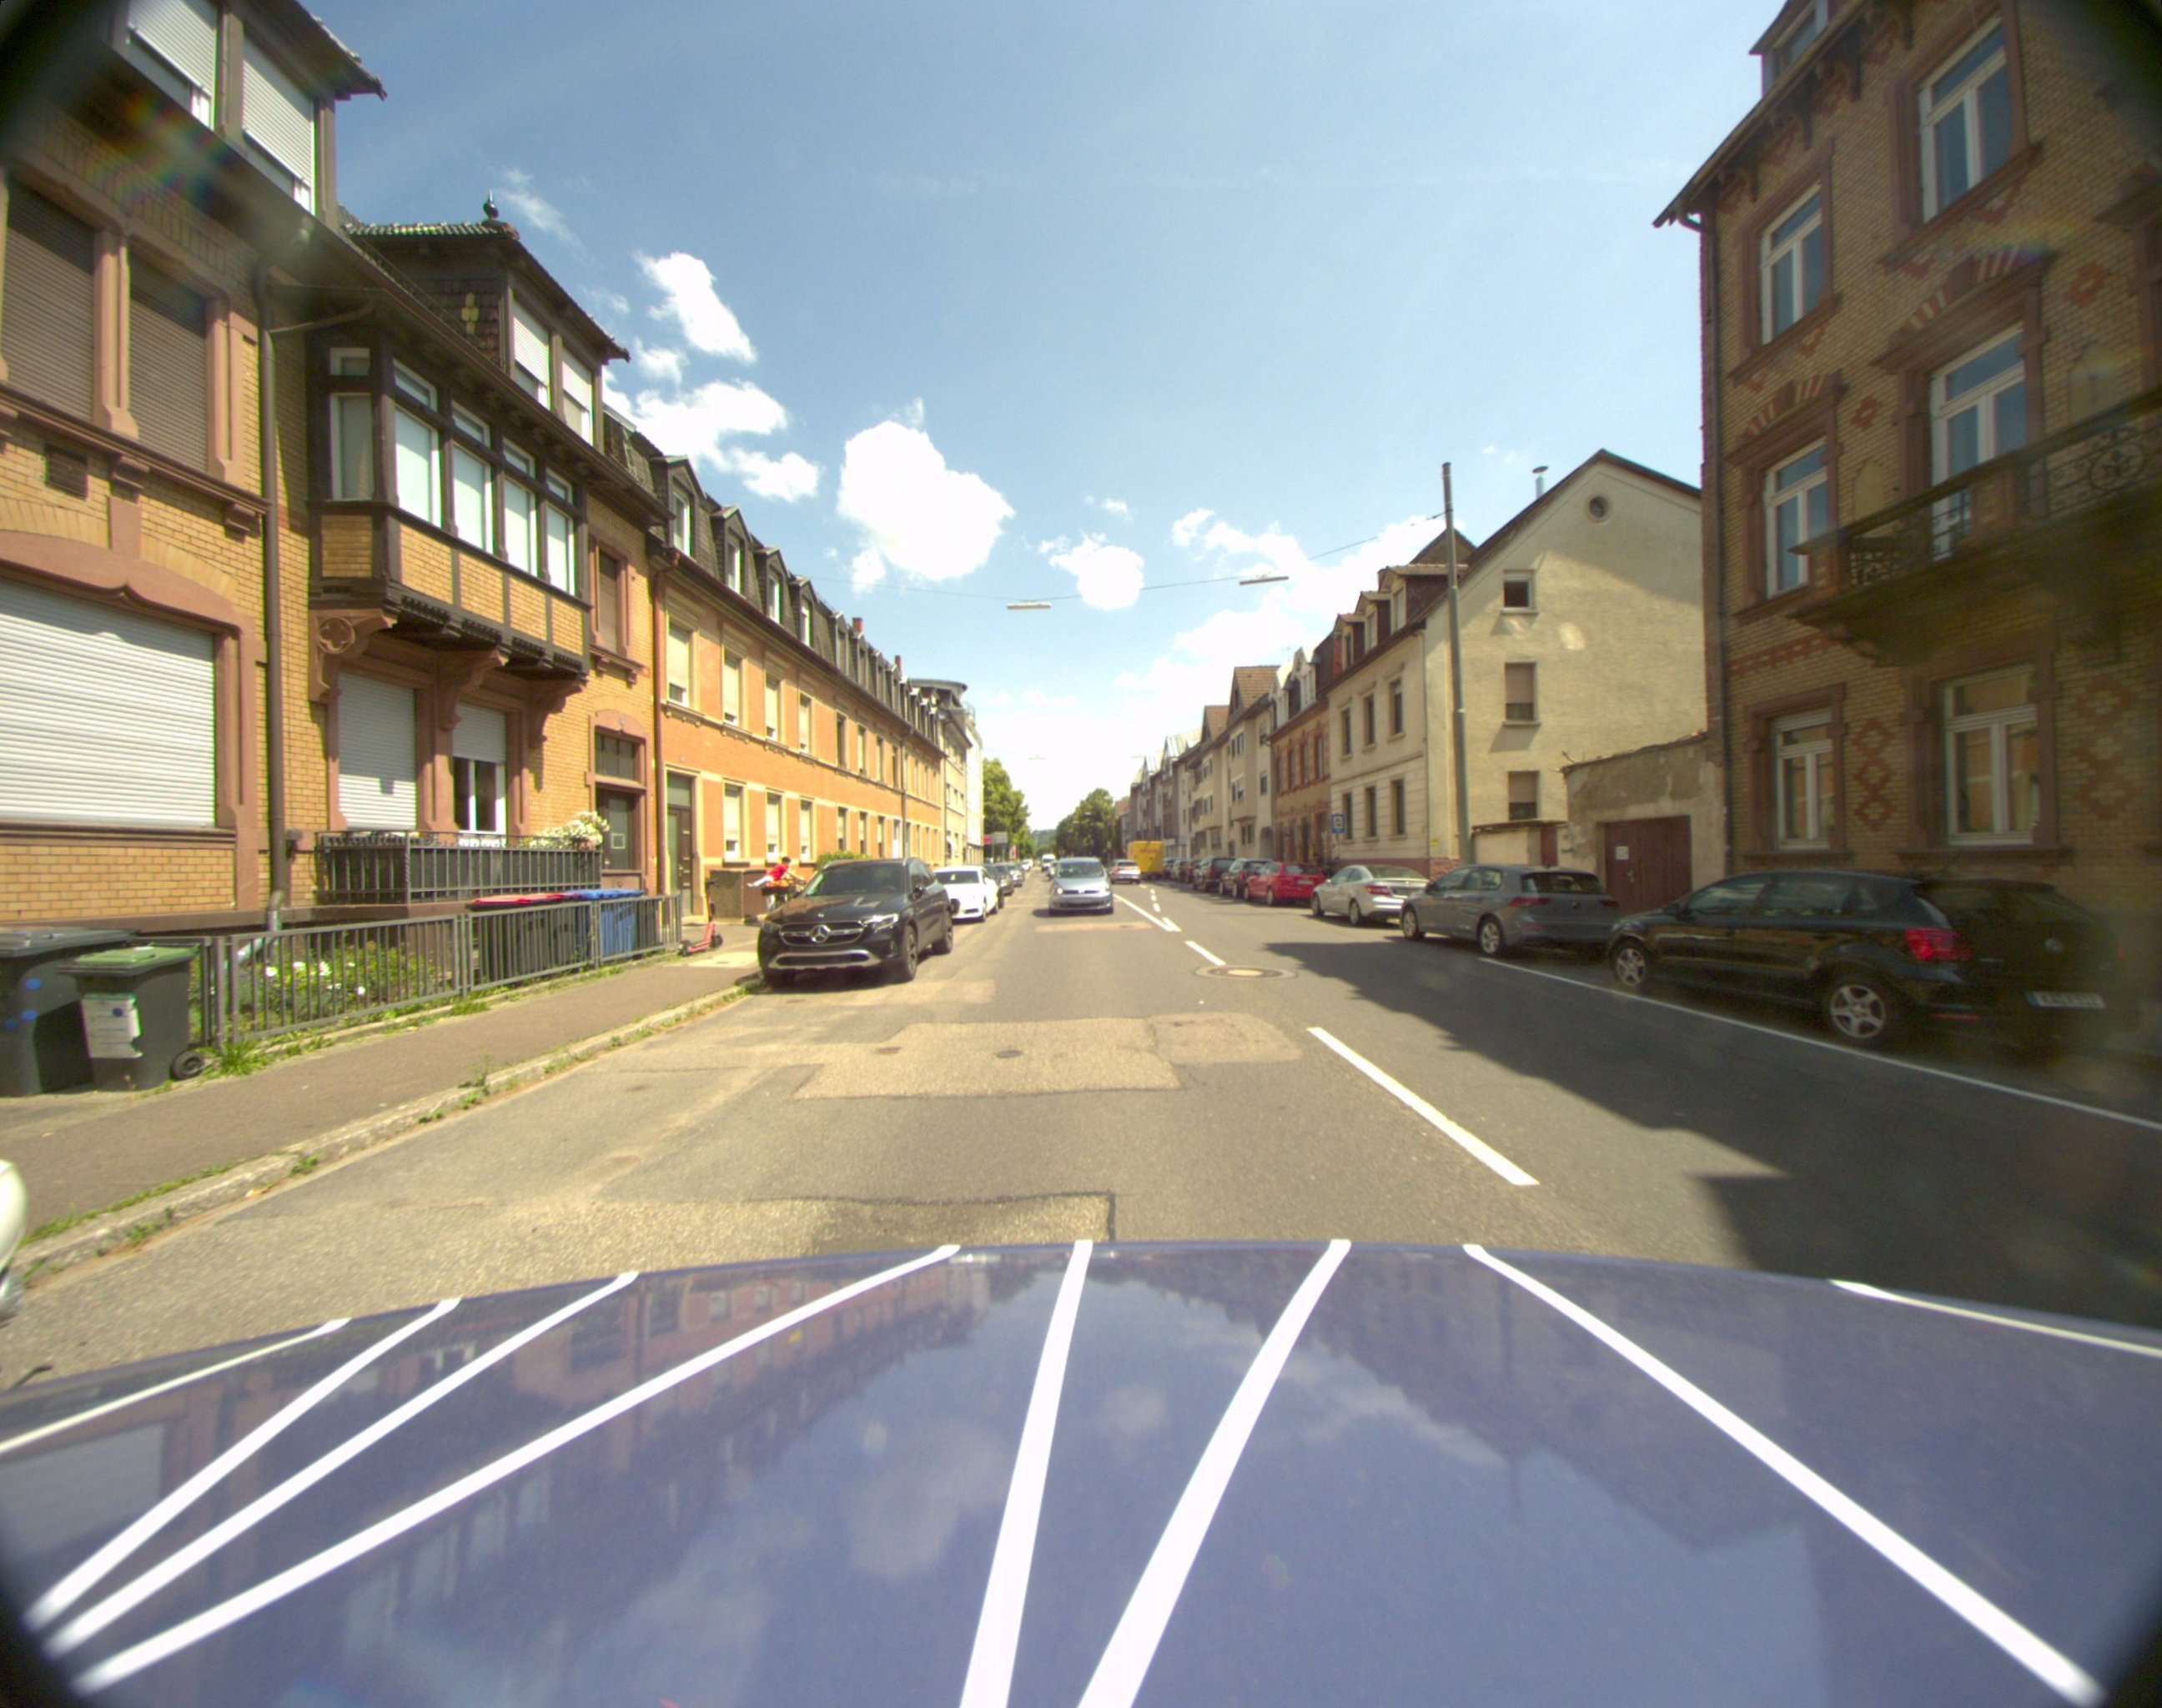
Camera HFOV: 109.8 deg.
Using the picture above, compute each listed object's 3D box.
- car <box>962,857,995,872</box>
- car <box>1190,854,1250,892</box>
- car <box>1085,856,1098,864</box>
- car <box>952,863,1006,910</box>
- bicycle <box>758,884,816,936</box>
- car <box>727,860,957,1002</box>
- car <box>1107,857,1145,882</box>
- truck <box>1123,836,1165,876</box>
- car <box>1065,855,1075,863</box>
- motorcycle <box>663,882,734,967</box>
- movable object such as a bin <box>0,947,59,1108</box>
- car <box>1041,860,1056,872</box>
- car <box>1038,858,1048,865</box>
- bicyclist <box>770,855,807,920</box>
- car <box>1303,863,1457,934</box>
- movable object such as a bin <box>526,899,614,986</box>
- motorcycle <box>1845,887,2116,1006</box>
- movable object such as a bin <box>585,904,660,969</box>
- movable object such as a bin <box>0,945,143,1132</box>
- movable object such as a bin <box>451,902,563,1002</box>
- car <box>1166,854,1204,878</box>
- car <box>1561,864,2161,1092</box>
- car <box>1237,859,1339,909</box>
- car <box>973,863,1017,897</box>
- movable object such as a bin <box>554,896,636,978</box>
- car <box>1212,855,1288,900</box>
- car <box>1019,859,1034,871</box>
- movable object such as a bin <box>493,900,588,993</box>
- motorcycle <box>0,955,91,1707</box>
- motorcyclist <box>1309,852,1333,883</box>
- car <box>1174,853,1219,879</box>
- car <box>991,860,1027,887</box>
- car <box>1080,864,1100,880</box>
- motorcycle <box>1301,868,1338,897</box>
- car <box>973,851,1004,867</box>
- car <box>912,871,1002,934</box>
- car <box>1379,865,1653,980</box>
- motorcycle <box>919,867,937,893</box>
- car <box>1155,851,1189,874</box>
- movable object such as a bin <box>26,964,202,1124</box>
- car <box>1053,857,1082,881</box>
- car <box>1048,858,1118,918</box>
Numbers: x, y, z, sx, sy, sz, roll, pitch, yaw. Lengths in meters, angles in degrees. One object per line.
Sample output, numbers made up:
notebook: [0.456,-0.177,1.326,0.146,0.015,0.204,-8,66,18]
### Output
car: [-12.795,1.290,95.086,3.998,1.740,2.016,-1,0,-4]
car: [6.426,0.824,35.531,1.844,1.587,4.501,2,0,-1]
car: [1.932,1.104,141.896,1.891,1.531,4.566,0,0,-5]
car: [-3.473,1.061,26.276,1.653,1.406,4.499,-1,0,-6]
bicycle: [-6.699,1.244,17.380,0.595,1.060,1.882,0,0,0]
car: [-3.204,0.931,11.325,1.999,1.652,4.625,0,0,0]
car: [2.607,0.876,45.319,1.795,1.412,4.313,0,0,-3]
truck: [4.629,0.186,56.917,2.231,2.755,7.562,1,0,-2]
car: [-2.264,1.040,153.371,1.817,1.611,4.439,-1,0,-4]
motorcycle: [-6.051,1.084,12.092,0.441,1.230,1.358,1,0,-1]
movable object such as a bin: [-7.600,1.186,5.024,0.660,1.048,0.748,0,0,1]
car: [-4.148,1.507,96.098,1.721,1.406,4.589,0,0,0]
car: [-7.608,1.494,152.229,1.721,1.406,4.589,0,0,0]
bicyclist: [-6.737,0.761,17.508,0.534,1.461,0.791,0,0,0]
car: [7.038,0.968,18.471,1.844,1.414,4.501,2,0,-1]
movable object such as a bin: [-6.746,1.152,10.054,0.790,1.082,0.543,0,0,-3]
motorcycle: [9.637,0.935,8.289,0.715,1.047,1.936,-1,0,3]
movable object such as a bin: [-6.802,1.214,11.291,0.790,0.902,0.539,0,0,-3]
movable object such as a bin: [-6.946,1.181,5.027,0.558,1.069,0.727,0,0,1]
movable object such as a bin: [-6.671,1.119,8.872,0.790,1.082,0.686,0,0,-3]
car: [7.244,0.821,53.405,1.845,1.479,4.385,-3,0,-2]
car: [7.022,0.884,7.368,1.844,1.414,4.502,3,0,1]
car: [6.718,0.920,25.183,1.845,1.414,4.500,2,0,-4]
car: [-3.840,1.129,34.558,1.705,1.372,4.165,-1,0,-3]
movable object such as a bin: [-6.784,1.146,10.628,0.790,1.082,0.539,0,0,-3]
car: [6.652,0.879,30.422,1.844,1.587,4.501,3,0,-1]
car: [-7.218,1.430,100.387,1.772,1.476,3.889,-1,0,-5]
movable object such as a bin: [-6.716,1.136,9.470,0.790,1.082,0.553,0,0,-3]
motorcycle: [-3.210,1.053,1.733,1.990,1.377,1.115,-1,1,38]
motorcyclist: [9.597,0.538,30.440,0.720,1.241,0.712,0,0,-2]
car: [7.273,0.707,48.183,1.845,1.479,4.501,-3,0,-3]
car: [-4.326,1.103,45.085,1.860,1.455,4.547,-1,0,-8]
car: [0.806,1.638,71.226,1.502,1.450,2.721,-1,0,-8]
motorcycle: [9.542,1.119,30.418,0.847,1.072,1.871,-1,0,-1]
car: [-14.426,0.832,119.073,4.615,2.263,2.105,-2,0,-3]
car: [-3.230,1.220,20.602,1.721,1.406,4.589,0,0,0]
car: [6.977,0.996,12.875,1.845,1.414,4.501,4,0,-2]
motorcycle: [-7.605,1.284,37.789,0.597,1.217,1.361,0,0,-2]
car: [7.117,0.643,59.644,1.845,1.586,4.385,-3,0,-3]
movable object such as a bin: [-6.396,1.236,5.048,0.482,0.935,0.526,0,0,1]
car: [-0.950,1.021,54.036,1.999,1.652,4.625,0,0,0]
car: [-0.043,0.900,21.754,1.747,1.513,4.222,0,0,-3]
